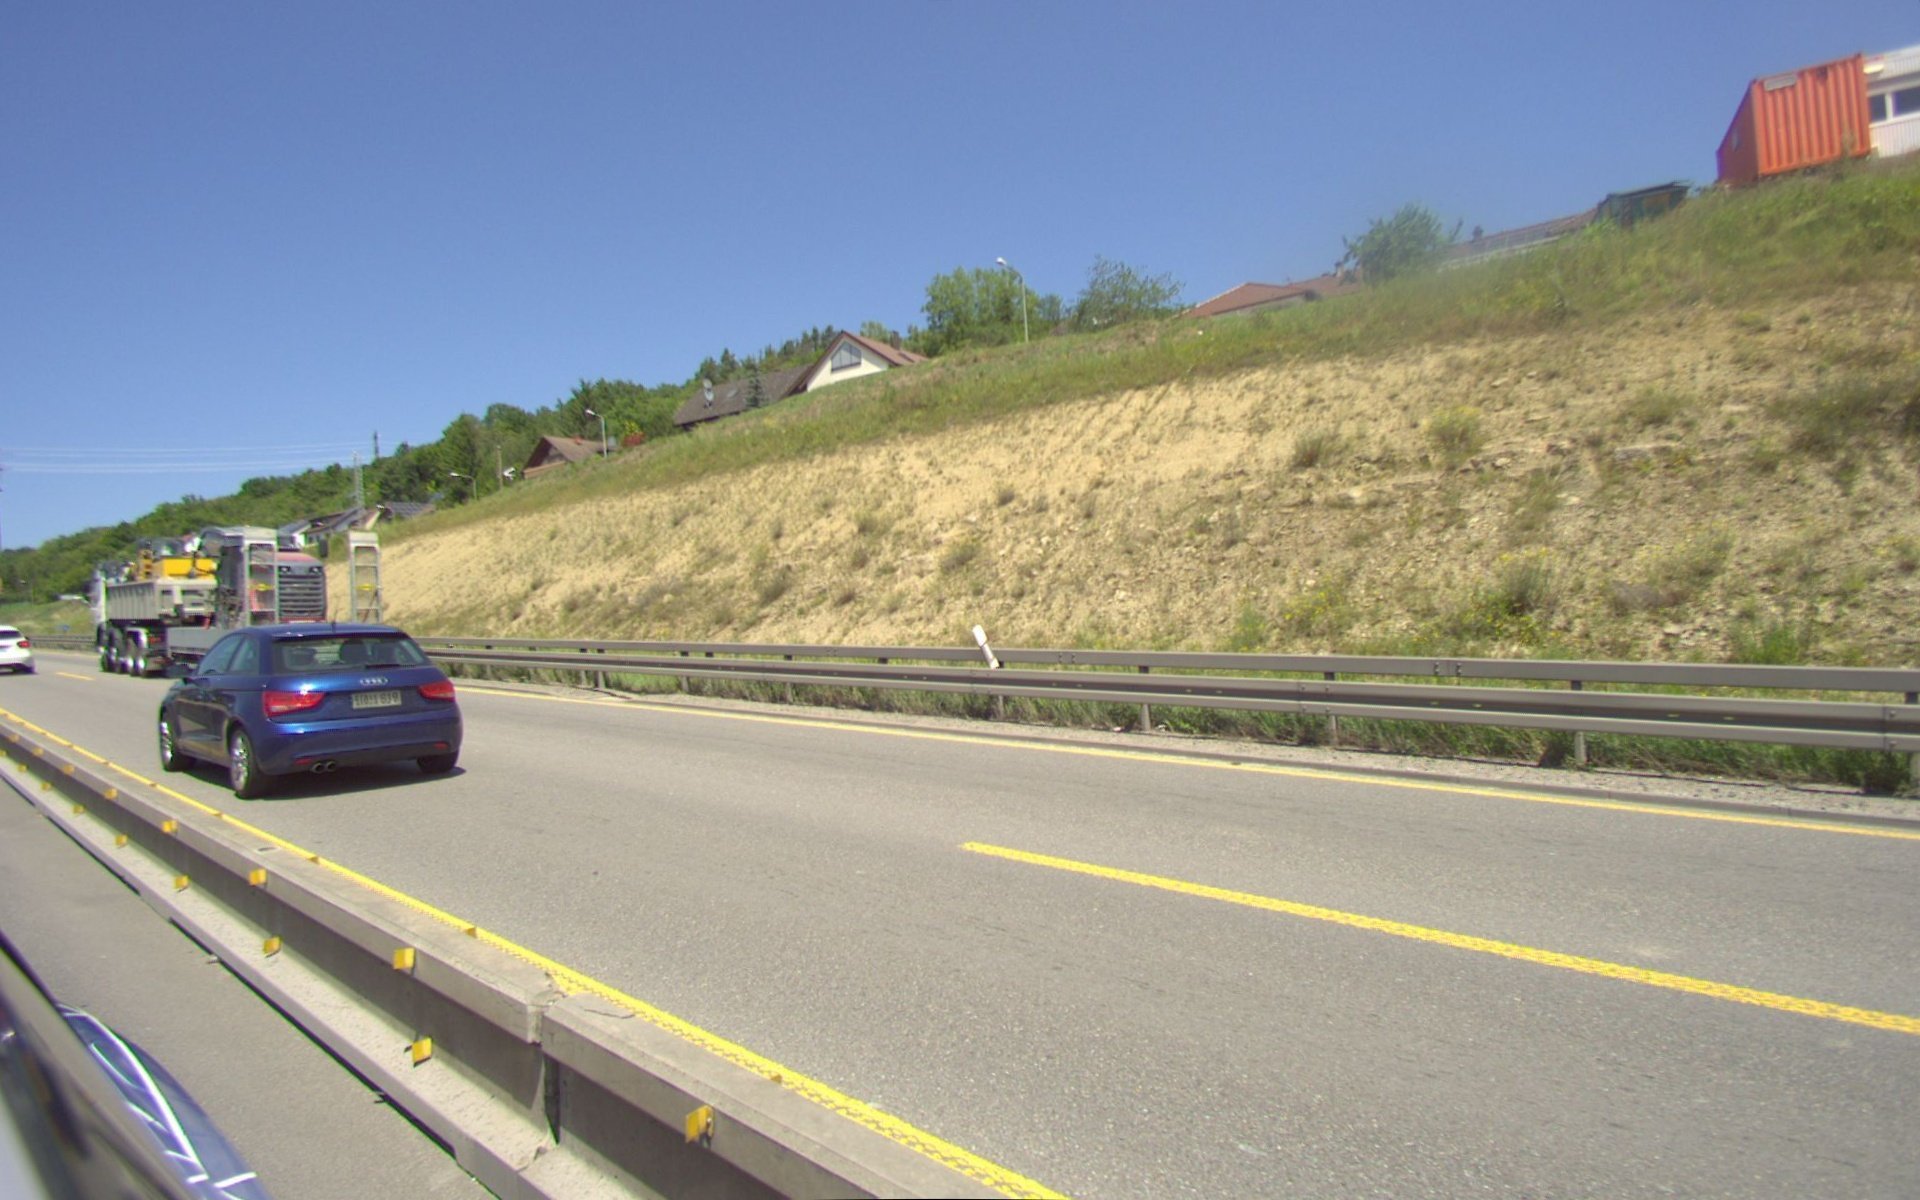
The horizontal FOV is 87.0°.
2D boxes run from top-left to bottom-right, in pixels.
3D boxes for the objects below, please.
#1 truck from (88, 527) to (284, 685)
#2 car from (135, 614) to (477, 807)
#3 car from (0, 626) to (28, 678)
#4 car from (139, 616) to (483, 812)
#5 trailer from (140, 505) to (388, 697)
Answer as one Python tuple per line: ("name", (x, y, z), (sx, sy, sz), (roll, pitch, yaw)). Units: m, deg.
("truck", (-21.692, 0.232, 28.087), (9.328, 3.751, 2.560), (-2, -1, 42))
("car", (-6.163, 0.872, 9.396), (3.684, 1.413, 1.672), (-2, -1, 40))
("car", (-28.569, 1.505, 29.451), (4.119, 1.441, 1.667), (-2, -1, 40))
("car", (-6.175, 0.905, 9.462), (3.847, 1.441, 1.667), (-2, -1, 40))
("trailer", (-16.259, 0.106, 23.269), (9.074, 3.664, 2.560), (-2, -1, 41))
